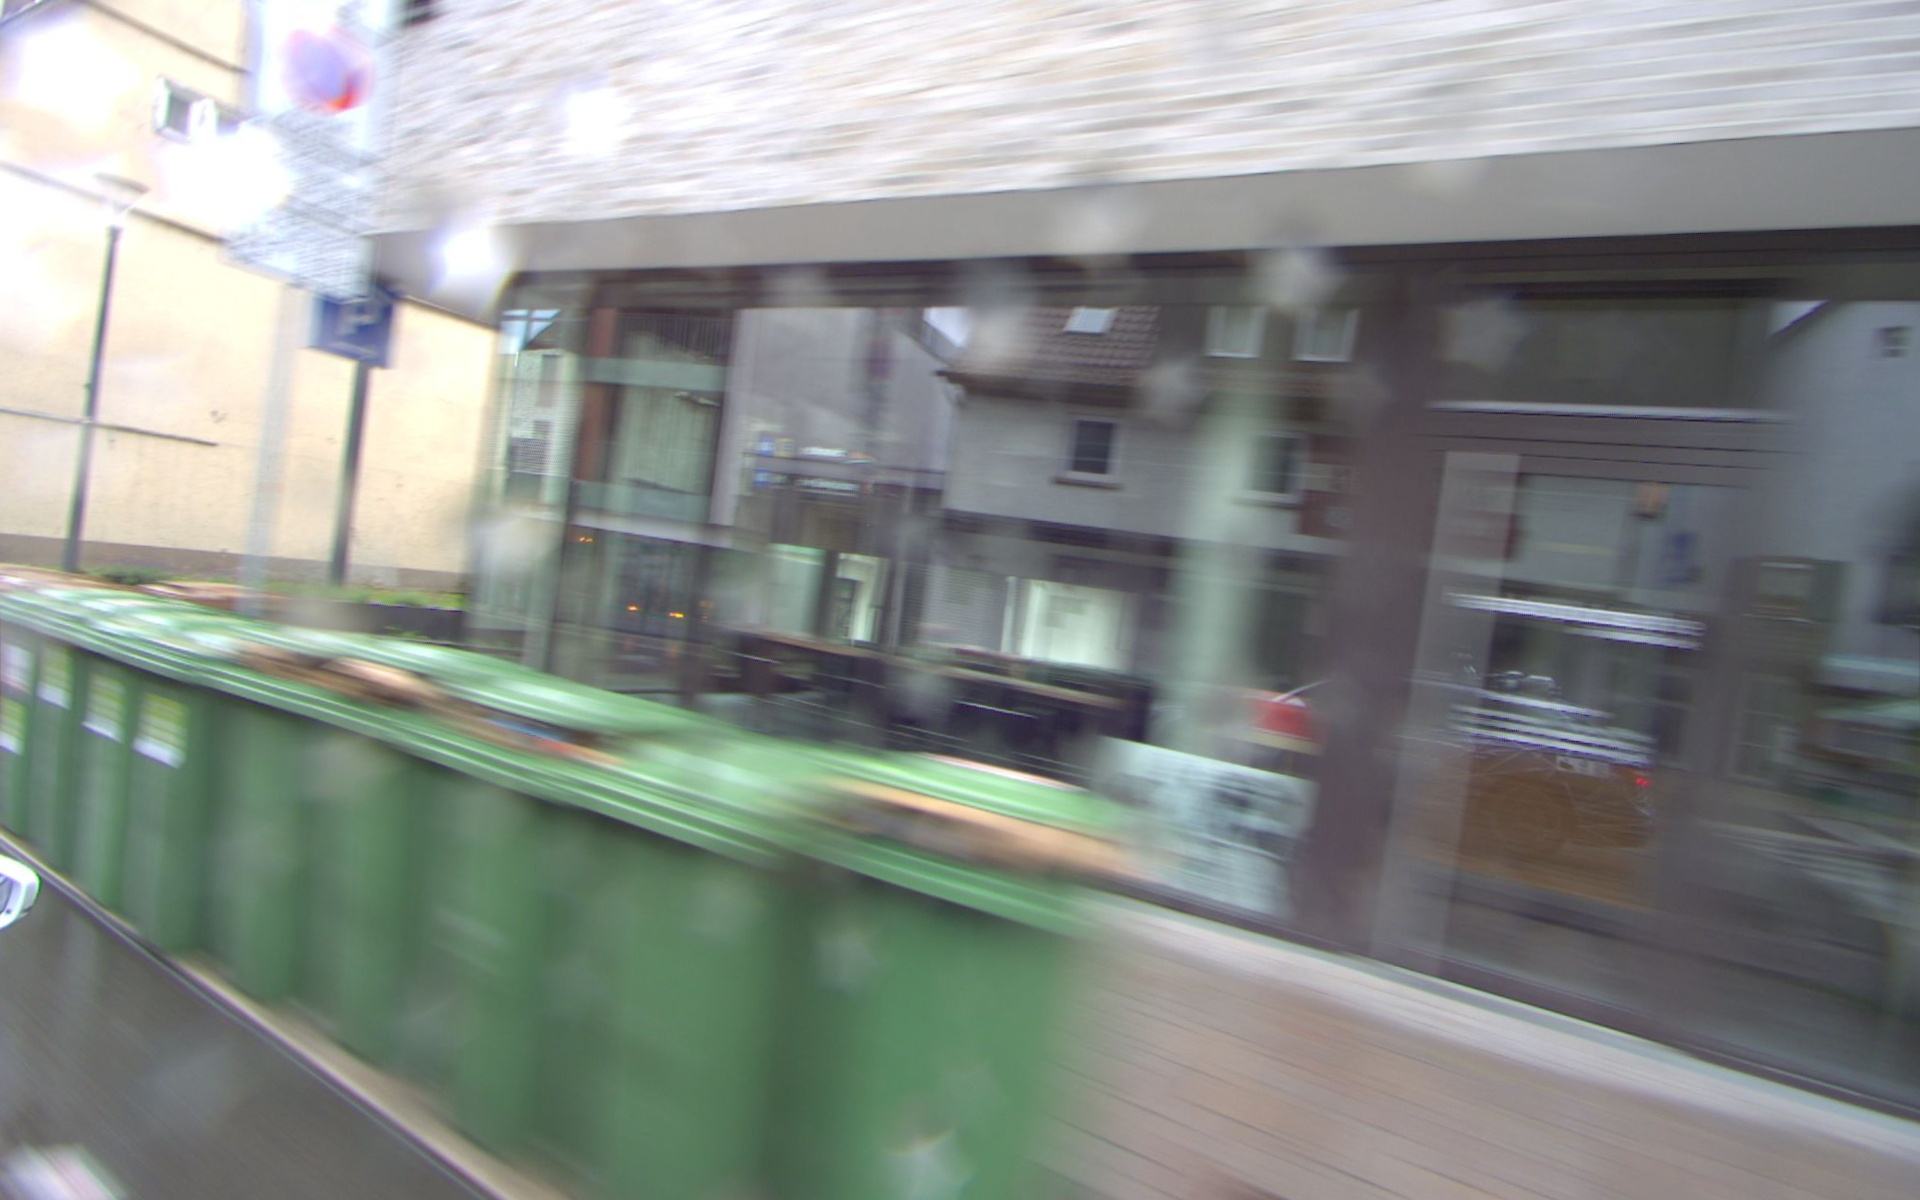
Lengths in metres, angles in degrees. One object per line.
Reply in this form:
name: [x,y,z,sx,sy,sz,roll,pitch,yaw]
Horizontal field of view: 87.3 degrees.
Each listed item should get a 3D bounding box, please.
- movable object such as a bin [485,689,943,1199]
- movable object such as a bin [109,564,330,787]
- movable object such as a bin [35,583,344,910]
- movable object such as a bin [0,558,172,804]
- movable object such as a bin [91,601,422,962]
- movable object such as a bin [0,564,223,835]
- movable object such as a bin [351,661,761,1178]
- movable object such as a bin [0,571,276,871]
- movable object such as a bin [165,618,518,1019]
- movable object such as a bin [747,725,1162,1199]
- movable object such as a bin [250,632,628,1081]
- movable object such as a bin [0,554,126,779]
movable object such as a bin: [-0.566,0.820,2.432,0.646,1.109,0.740,7,2,32]
movable object such as a bin: [-4.161,0.407,5.673,0.616,1.109,0.766,7,2,32]
movable object such as a bin: [-3.053,0.538,4.017,0.571,1.109,0.766,7,2,32]
movable object such as a bin: [-4.531,0.379,4.992,0.571,1.109,0.766,7,2,32]
movable object such as a bin: [-2.555,0.603,3.689,0.571,1.109,0.766,7,2,32]
movable object such as a bin: [-4.041,0.432,4.680,0.571,1.109,0.766,7,2,32]
movable object such as a bin: [-1.073,0.757,2.750,0.571,1.109,0.766,7,2,32]
movable object such as a bin: [-3.545,0.482,4.327,0.571,1.109,0.766,7,2,32]
movable object such as a bin: [-2.054,0.657,3.383,0.571,1.109,0.766,7,2,32]
movable object such as a bin: [0.006,0.882,2.178,0.542,1.109,0.663,7,2,31]
movable object such as a bin: [-1.564,0.692,3.077,0.571,1.109,0.766,7,2,32]
movable object such as a bin: [-5.028,0.332,5.309,0.571,1.109,0.766,7,2,32]
